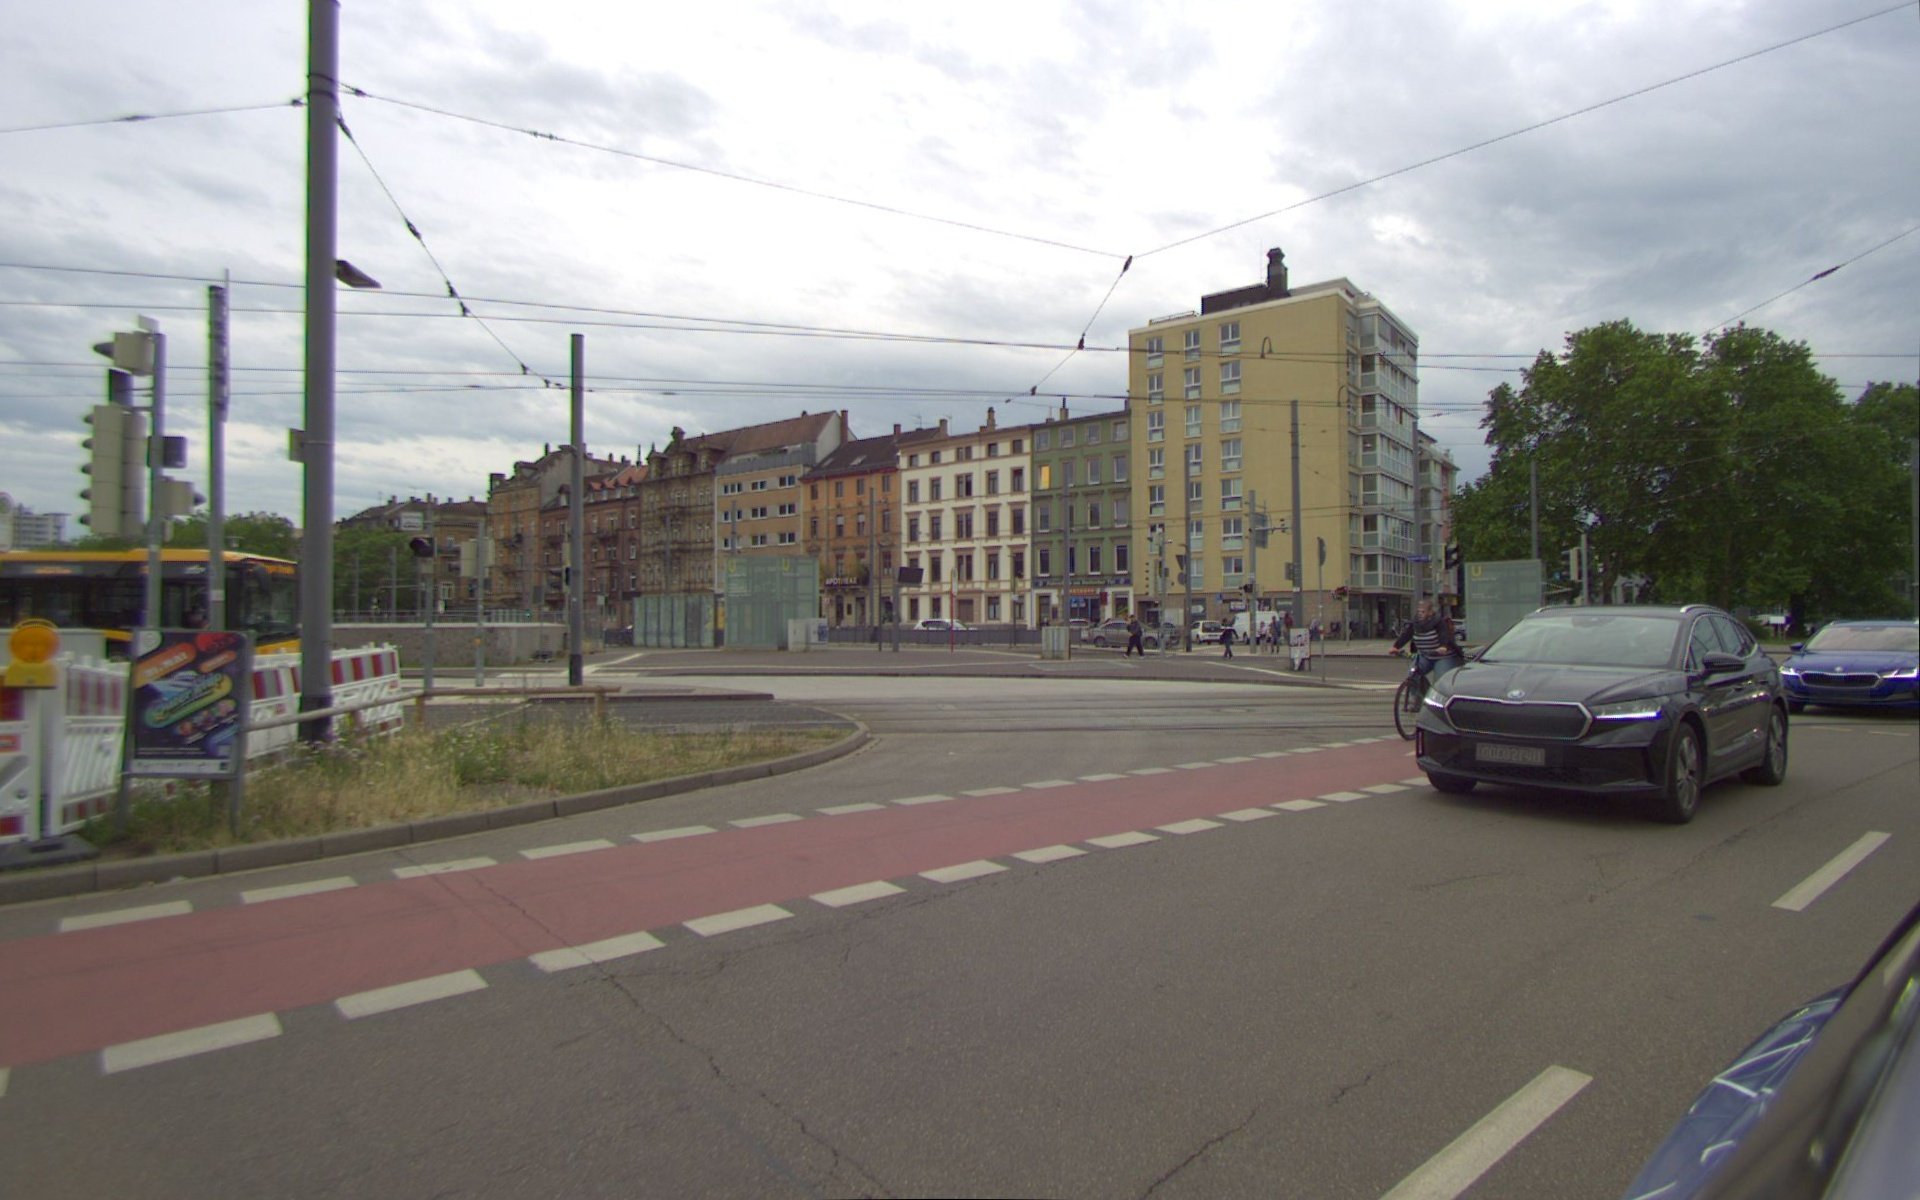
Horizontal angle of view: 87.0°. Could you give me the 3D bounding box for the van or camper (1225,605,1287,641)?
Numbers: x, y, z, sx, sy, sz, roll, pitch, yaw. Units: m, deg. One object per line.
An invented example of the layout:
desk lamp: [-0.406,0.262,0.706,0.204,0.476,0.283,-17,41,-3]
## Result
van or camper: [17.628,1.364,60.556,2.131,2.004,5.464,0,-1,1]

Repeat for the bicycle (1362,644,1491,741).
bicycle: [5.842,1.111,12.618,2.088,1.068,0.626,1,-1,-40]

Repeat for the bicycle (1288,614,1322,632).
bicycle: [22.488,1.498,65.979,2.027,1.184,0.661,0,-1,36]

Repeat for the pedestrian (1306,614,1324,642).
pedestrian: [22.669,1.777,64.646,0.902,1.759,0.801,0,-1,40]

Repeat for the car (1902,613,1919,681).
car: [21.854,1.004,21.235,4.332,1.388,1.773,1,0,-28]

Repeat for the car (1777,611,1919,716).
car: [14.835,0.914,16.016,4.667,1.454,1.771,1,-1,-36]

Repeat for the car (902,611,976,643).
car: [-1.210,1.490,57.609,3.983,1.772,1.970,-1,-1,42]

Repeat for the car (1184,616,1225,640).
car: [15.100,1.709,62.704,1.704,1.435,3.735,0,-1,2]

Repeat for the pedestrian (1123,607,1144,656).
pedestrian: [7.039,1.272,41.080,0.773,1.937,0.899,0,-1,16]

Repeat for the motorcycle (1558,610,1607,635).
motorcycle: [34.761,1.246,56.557,2.273,1.383,1.035,1,-1,30]

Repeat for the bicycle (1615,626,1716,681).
bicycle: [14.588,1.090,20.928,1.974,1.093,0.764,1,-3,-24]

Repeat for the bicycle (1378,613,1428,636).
bicycle: [27.684,1.528,63.271,2.772,1.395,0.890,0,-1,41]

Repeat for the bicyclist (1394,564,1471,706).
bicyclist: [5.917,0.427,12.674,0.792,1.712,0.616,2,-2,-42]

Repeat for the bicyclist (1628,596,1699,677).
bicyclist: [14.542,0.752,20.926,0.914,1.639,0.792,1,-3,-24]

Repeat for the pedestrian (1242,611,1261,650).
pedestrian: [12.620,1.310,43.832,0.758,1.632,0.947,0,-1,16]

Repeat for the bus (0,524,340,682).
bus: [-21.450,0.078,22.680,12.778,3.310,3.029,0,-1,-6]

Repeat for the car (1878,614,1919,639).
car: [77.770,2.168,83.434,4.151,1.473,1.958,-8,4,-32]

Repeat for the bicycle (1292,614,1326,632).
bicycle: [22.913,1.511,66.519,2.027,1.184,0.661,0,-1,36]

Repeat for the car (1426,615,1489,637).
car: [35.891,1.830,73.004,3.966,1.460,1.979,1,0,30]

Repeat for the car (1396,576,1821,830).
car: [5.831,0.715,8.873,4.434,1.679,1.907,1,-1,-40]

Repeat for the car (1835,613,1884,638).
car: [76.096,2.141,85.611,4.150,1.616,1.958,-6,3,-32]

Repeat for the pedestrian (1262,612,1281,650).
pedestrian: [13.503,1.319,43.878,0.773,1.623,0.892,0,-1,16]

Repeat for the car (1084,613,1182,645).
car: [8.456,1.372,49.713,4.427,1.505,1.970,-1,-1,42]

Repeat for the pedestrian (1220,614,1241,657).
pedestrian: [10.587,1.391,39.599,0.773,1.664,0.899,0,-1,16]

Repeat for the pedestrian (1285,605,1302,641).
pedestrian: [16.673,1.129,50.583,0.777,1.779,1.043,0,-1,17]

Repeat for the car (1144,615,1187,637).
car: [12.782,1.611,63.054,1.647,1.321,3.741,0,-1,-5]

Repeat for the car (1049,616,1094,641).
car: [7.317,1.845,66.924,1.700,1.608,3.745,0,-1,-15]

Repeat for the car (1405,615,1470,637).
car: [33.575,1.827,71.187,3.968,1.483,1.977,-1,-1,32]
